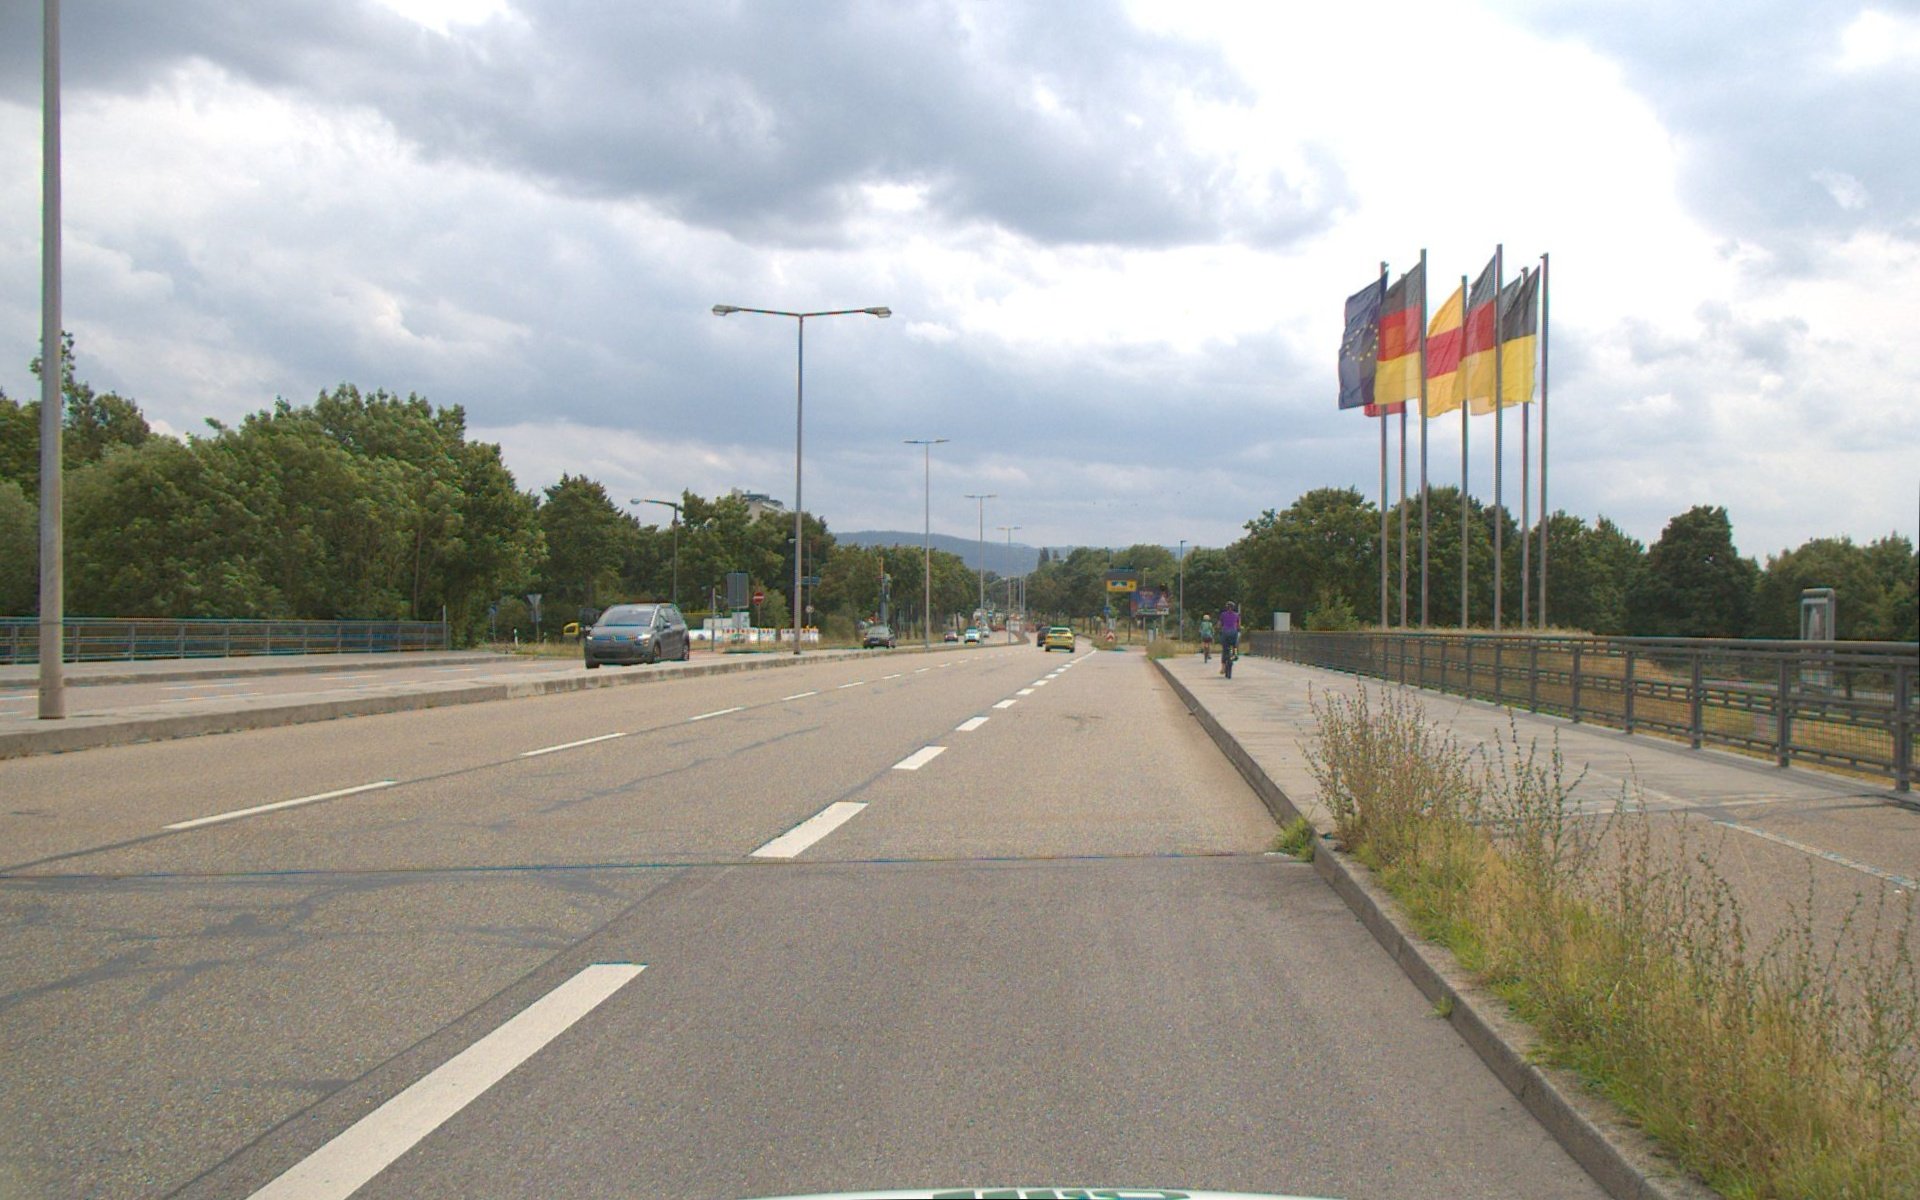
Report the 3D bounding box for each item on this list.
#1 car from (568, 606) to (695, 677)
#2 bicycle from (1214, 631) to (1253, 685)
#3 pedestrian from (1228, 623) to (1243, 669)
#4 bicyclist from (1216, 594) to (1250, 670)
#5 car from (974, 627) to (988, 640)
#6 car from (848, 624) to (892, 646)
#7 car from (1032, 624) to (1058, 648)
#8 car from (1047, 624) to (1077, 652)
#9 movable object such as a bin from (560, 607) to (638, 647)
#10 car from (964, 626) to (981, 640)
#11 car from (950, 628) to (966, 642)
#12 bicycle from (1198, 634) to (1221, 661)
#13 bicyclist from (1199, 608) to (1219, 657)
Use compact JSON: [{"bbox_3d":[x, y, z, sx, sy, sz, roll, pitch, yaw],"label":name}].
[{"bbox_3d":[-8.290,1.007,42.183,1.951,1.668,4.664,1,0,5],"label":"car"},{"bbox_3d":[6.500,1.361,39.432,0.679,1.213,2.462,0,-1,4],"label":"bicycle"},{"bbox_3d":[12.412,2.082,74.489,0.614,2.049,0.668,1,-1,5],"label":"pedestrian"},{"bbox_3d":[6.507,0.756,39.460,0.688,1.786,0.991,0,-1,4],"label":"bicyclist"},{"bbox_3d":[3.240,5.228,257.282,1.862,1.841,4.542,1,0,4],"label":"car"},{"bbox_3d":[-5.855,2.294,108.281,1.951,1.398,4.580,-1,-2,9],"label":"car"},{"bbox_3d":[7.221,3.055,140.367,1.953,1.948,3.999,1,0,-1],"label":"car"},{"bbox_3d":[6.237,2.320,101.193,1.756,1.589,4.001,1,0,3],"label":"car"},{"bbox_3d":[-22.694,1.673,104.102,4.489,2.439,1.998,1,0,-6],"label":"movable object such as a bin"},{"bbox_3d":[1.506,3.952,198.157,1.658,1.657,4.386,1,0,6],"label":"car"},{"bbox_3d":[-0.227,4.662,218.711,1.953,1.723,3.999,3,-2,-1],"label":"car"},{"bbox_3d":[8.700,1.649,57.755,0.610,0.904,2.155,1,0,4],"label":"bicycle"},{"bbox_3d":[8.744,1.136,58.152,0.608,1.695,0.669,1,-1,3],"label":"bicyclist"}]
